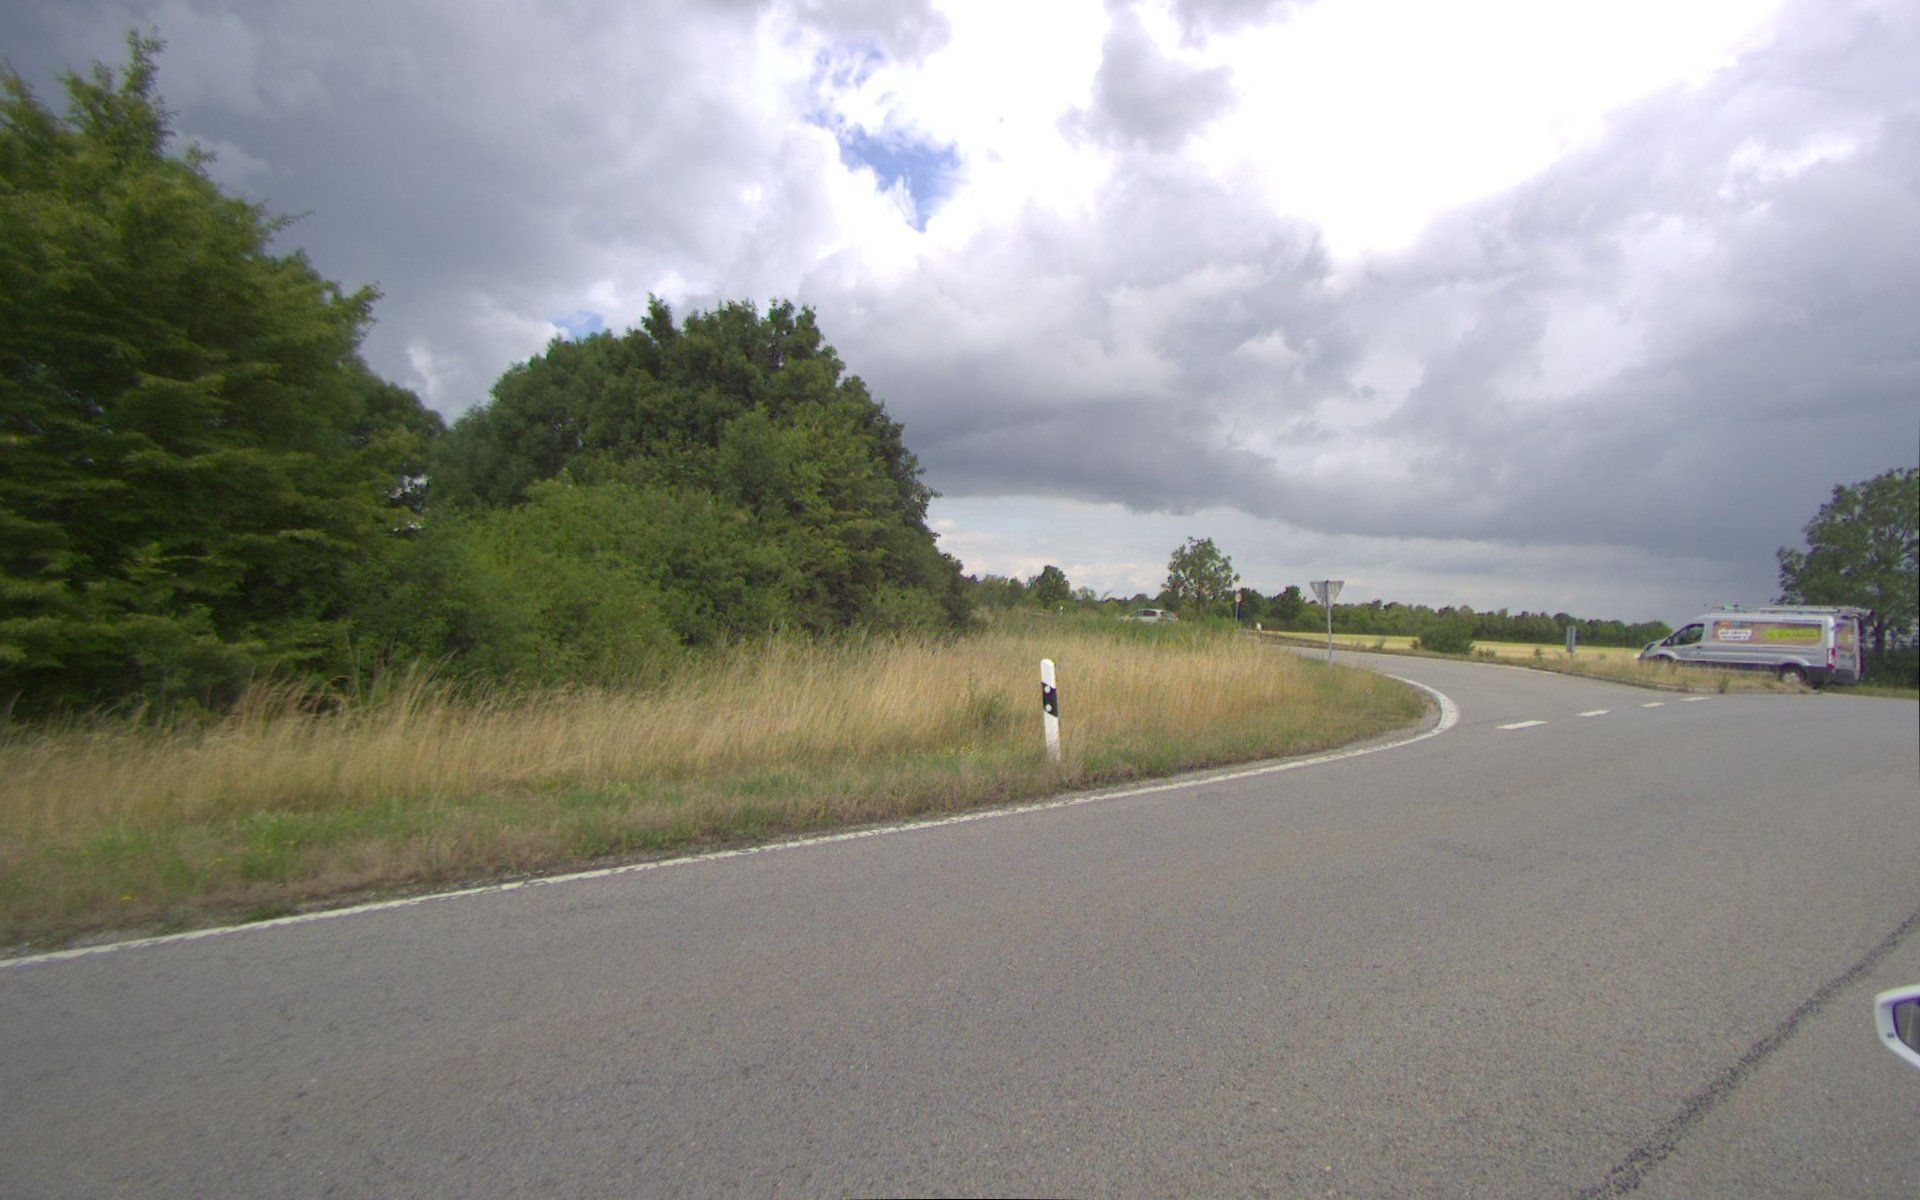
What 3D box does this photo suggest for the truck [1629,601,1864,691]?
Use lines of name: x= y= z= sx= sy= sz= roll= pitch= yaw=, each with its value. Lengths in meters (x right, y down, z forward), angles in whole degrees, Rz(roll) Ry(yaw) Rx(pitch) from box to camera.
truck: x=26.699 y=1.474 z=34.408 sx=2.043 sy=2.739 sz=5.990 roll=2 pitch=0 yaw=-32

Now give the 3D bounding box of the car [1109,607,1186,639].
car: x=10.634 y=1.303 z=57.204 sx=1.983 sy=1.684 sz=3.956 roll=2 pitch=0 yaw=-38
